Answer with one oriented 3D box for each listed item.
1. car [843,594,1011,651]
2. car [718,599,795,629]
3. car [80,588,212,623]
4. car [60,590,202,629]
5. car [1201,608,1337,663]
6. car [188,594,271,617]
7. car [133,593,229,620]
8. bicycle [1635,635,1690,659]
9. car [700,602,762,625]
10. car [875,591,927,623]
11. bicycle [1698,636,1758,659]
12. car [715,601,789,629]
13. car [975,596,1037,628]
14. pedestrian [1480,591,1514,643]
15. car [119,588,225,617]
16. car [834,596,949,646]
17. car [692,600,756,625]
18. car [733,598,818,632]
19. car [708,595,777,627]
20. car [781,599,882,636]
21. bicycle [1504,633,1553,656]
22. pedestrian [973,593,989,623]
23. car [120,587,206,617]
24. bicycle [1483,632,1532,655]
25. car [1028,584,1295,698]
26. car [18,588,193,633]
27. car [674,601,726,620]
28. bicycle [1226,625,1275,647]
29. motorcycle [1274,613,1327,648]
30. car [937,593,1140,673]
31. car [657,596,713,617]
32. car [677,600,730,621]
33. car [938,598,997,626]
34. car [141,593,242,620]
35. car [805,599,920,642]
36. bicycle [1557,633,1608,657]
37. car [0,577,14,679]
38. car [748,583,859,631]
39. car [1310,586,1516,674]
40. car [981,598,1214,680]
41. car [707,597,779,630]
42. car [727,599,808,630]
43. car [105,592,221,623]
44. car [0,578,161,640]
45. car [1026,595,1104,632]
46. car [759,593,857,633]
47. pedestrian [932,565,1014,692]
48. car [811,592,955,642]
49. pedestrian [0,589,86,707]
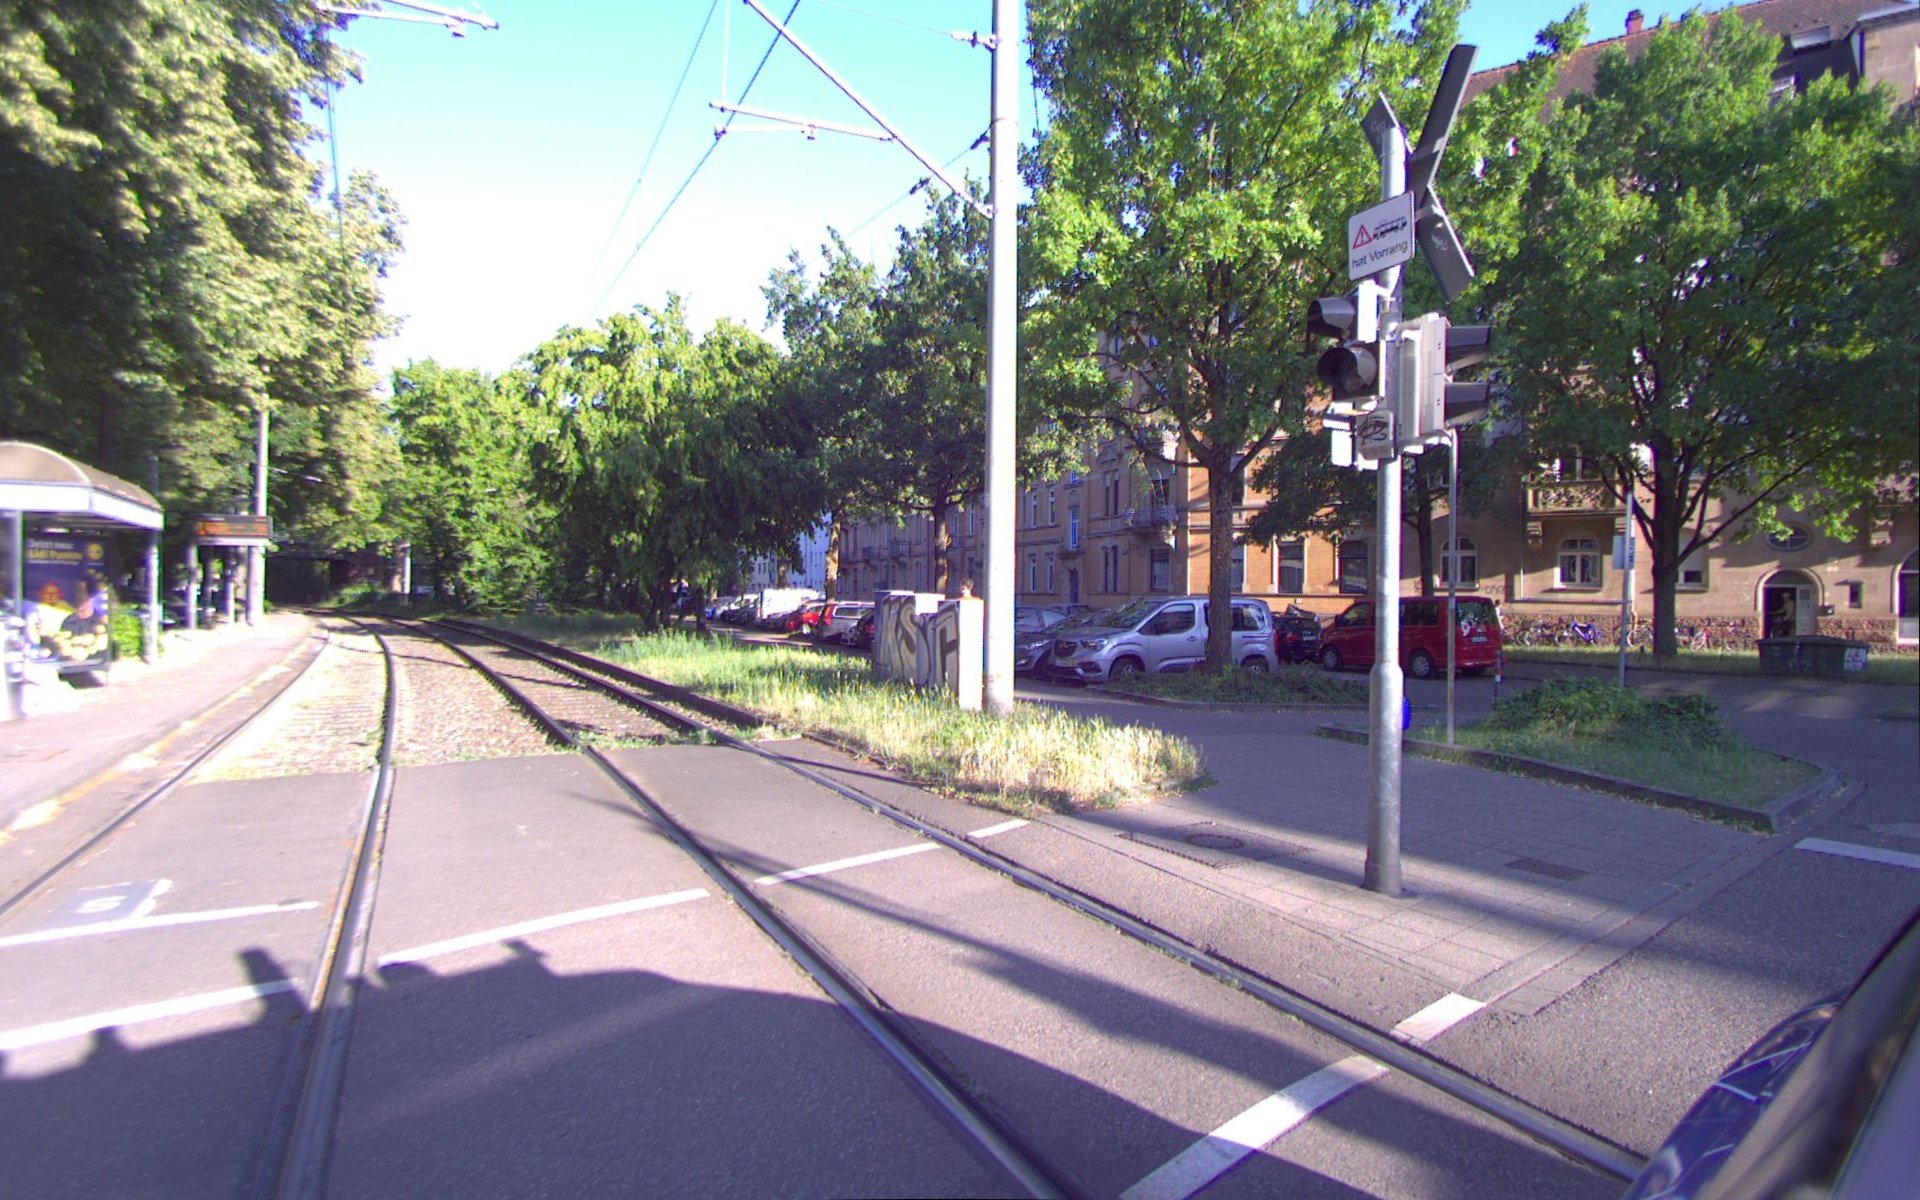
[{"bbox_3d":[-1.005,0.668,30.433,4.616,1.592,2.004,1,0,-19],"label":"car"},{"bbox_3d":[-11.226,0.764,55.862,3.916,1.508,1.687,2,-1,-21],"label":"car"},{"bbox_3d":[-32.762,0.223,40.799,3.924,1.295,1.748,2,-1,0],"label":"car"},{"bbox_3d":[-31.378,0.357,38.382,3.924,1.295,1.748,2,-1,0],"label":"car"},{"bbox_3d":[9.218,1.007,30.604,1.744,1.452,4.279,-1,0,-19],"label":"car"},{"bbox_3d":[-45.728,0.335,63.400,3.924,1.295,1.748,2,-1,0],"label":"car"},{"bbox_3d":[-42.863,0.365,55.760,3.924,1.295,1.748,2,-1,0],"label":"car"},{"bbox_3d":[23.487,1.556,33.875,1.499,0.741,0.364,1,-1,34],"label":"bicycle"},{"bbox_3d":[-15.956,0.934,70.493,3.916,1.508,1.687,2,-1,-21],"label":"car"},{"bbox_3d":[-3.787,0.442,63.912,1.873,1.906,4.734,-1,0,-21],"label":"car"},{"bbox_3d":[24.877,1.537,32.792,1.499,0.741,0.364,-1,-2,34],"label":"bicycle"},{"bbox_3d":[-12.035,0.882,58.529,3.916,1.508,1.687,2,-1,-21],"label":"car"},{"bbox_3d":[2.193,0.558,49.094,1.654,1.494,3.716,-1,0,-21],"label":"car"},{"bbox_3d":[18.184,0.585,34.260,0.905,1.740,0.667,-2,-1,34],"label":"pedestrian"},{"bbox_3d":[-39.441,0.132,50.691,3.924,1.295,1.748,2,-1,0],"label":"car"},{"bbox_3d":[-2.229,0.679,32.718,3.337,1.534,1.722,1,-1,-19],"label":"car"},{"bbox_3d":[-15.846,0.839,67.883,3.916,1.508,1.687,2,-1,-21],"label":"car"},{"bbox_3d":[-9.298,0.746,51.054,3.916,1.573,1.687,2,-1,-21],"label":"car"},{"bbox_3d":[-13.511,0.690,62.925,3.916,1.856,1.687,2,-1,-21],"label":"car"},{"bbox_3d":[-5.414,0.744,42.581,3.916,1.441,1.687,2,-1,-21],"label":"car"},{"bbox_3d":[19.959,1.563,35.550,1.499,0.741,0.364,1,-1,34],"label":"bicycle"},{"bbox_3d":[1.240,0.464,59.607,0.661,1.740,0.723,-1,0,-20],"label":"pedestrian"},{"bbox_3d":[-51.409,0.160,65.342,3.916,1.789,1.751,2,-1,-14],"label":"car"},{"bbox_3d":[19.609,1.561,36.250,1.499,0.741,0.364,1,-1,34],"label":"bicycle"},{"bbox_3d":[3.728,0.733,18.872,4.457,1.938,1.954,1,0,-19],"label":"car"},{"bbox_3d":[-27.969,0.349,33.218,4.201,1.295,1.808,2,-1,1],"label":"car"},{"bbox_3d":[-22.262,0.872,86.648,4.176,1.508,1.687,2,-1,-21],"label":"car"},{"bbox_3d":[11.968,1.481,41.764,1.885,0.859,0.519,0,-2,34],"label":"bicycle"},{"bbox_3d":[13.604,1.208,40.434,1.885,1.370,0.800,0,-2,34],"label":"motorcycle"},{"bbox_3d":[1.869,0.761,23.823,4.358,1.712,1.953,1,0,-27],"label":"car"},{"bbox_3d":[-26.623,0.620,97.990,4.991,1.865,1.836,2,-1,-21],"label":"car"},{"bbox_3d":[-20.966,0.878,82.745,4.046,1.541,1.687,2,-1,-21],"label":"car"},{"bbox_3d":[0.339,0.591,54.020,1.732,1.401,4.298,-1,0,-20],"label":"car"},{"bbox_3d":[-40.363,0.351,53.212,3.924,1.295,1.748,2,-1,0],"label":"car"},{"bbox_3d":[-3.649,0.765,37.836,3.916,1.479,1.687,2,-1,-21],"label":"car"},{"bbox_3d":[21.497,1.553,34.967,1.499,0.741,0.364,1,-1,34],"label":"bicycle"},{"bbox_3d":[-18.805,0.400,17.001,4.479,1.744,1.924,2,-1,10],"label":"car"},{"bbox_3d":[-7.316,0.331,47.244,4.758,2.064,2.159,2,-1,-21],"label":"car"},{"bbox_3d":[11.142,0.678,25.331,1.745,1.958,4.781,-1,0,-22],"label":"car"},{"bbox_3d":[2.891,0.808,21.448,4.457,1.592,1.954,1,0,-19],"label":"car"},{"bbox_3d":[-12.984,0.793,60.524,3.916,1.856,1.687,2,-1,-21],"label":"car"},{"bbox_3d":[-10.153,0.745,53.459,3.916,1.508,1.687,2,-1,-21],"label":"car"},{"bbox_3d":[-36.324,0.339,46.193,3.924,1.295,1.748,2,-1,0],"label":"car"},{"bbox_3d":[-27.034,0.254,30.720,4.205,1.717,1.807,2,-1,4],"label":"car"},{"bbox_3d":[4.440,0.544,43.490,1.654,1.494,3.889,-1,0,-23],"label":"car"},{"bbox_3d":[-6.679,0.576,44.566,3.916,1.600,1.769,2,-1,-23],"label":"car"},{"bbox_3d":[0.195,0.447,16.260,0.886,1.943,1.152,2,-1,-21],"label":"pedestrian"},{"bbox_3d":[-2.690,0.591,35.290,4.616,1.592,2.004,1,0,-19],"label":"car"},{"bbox_3d":[-10.671,0.527,11.582,0.808,1.289,0.878,2,-1,-29],"label":"pedestrian"}]
